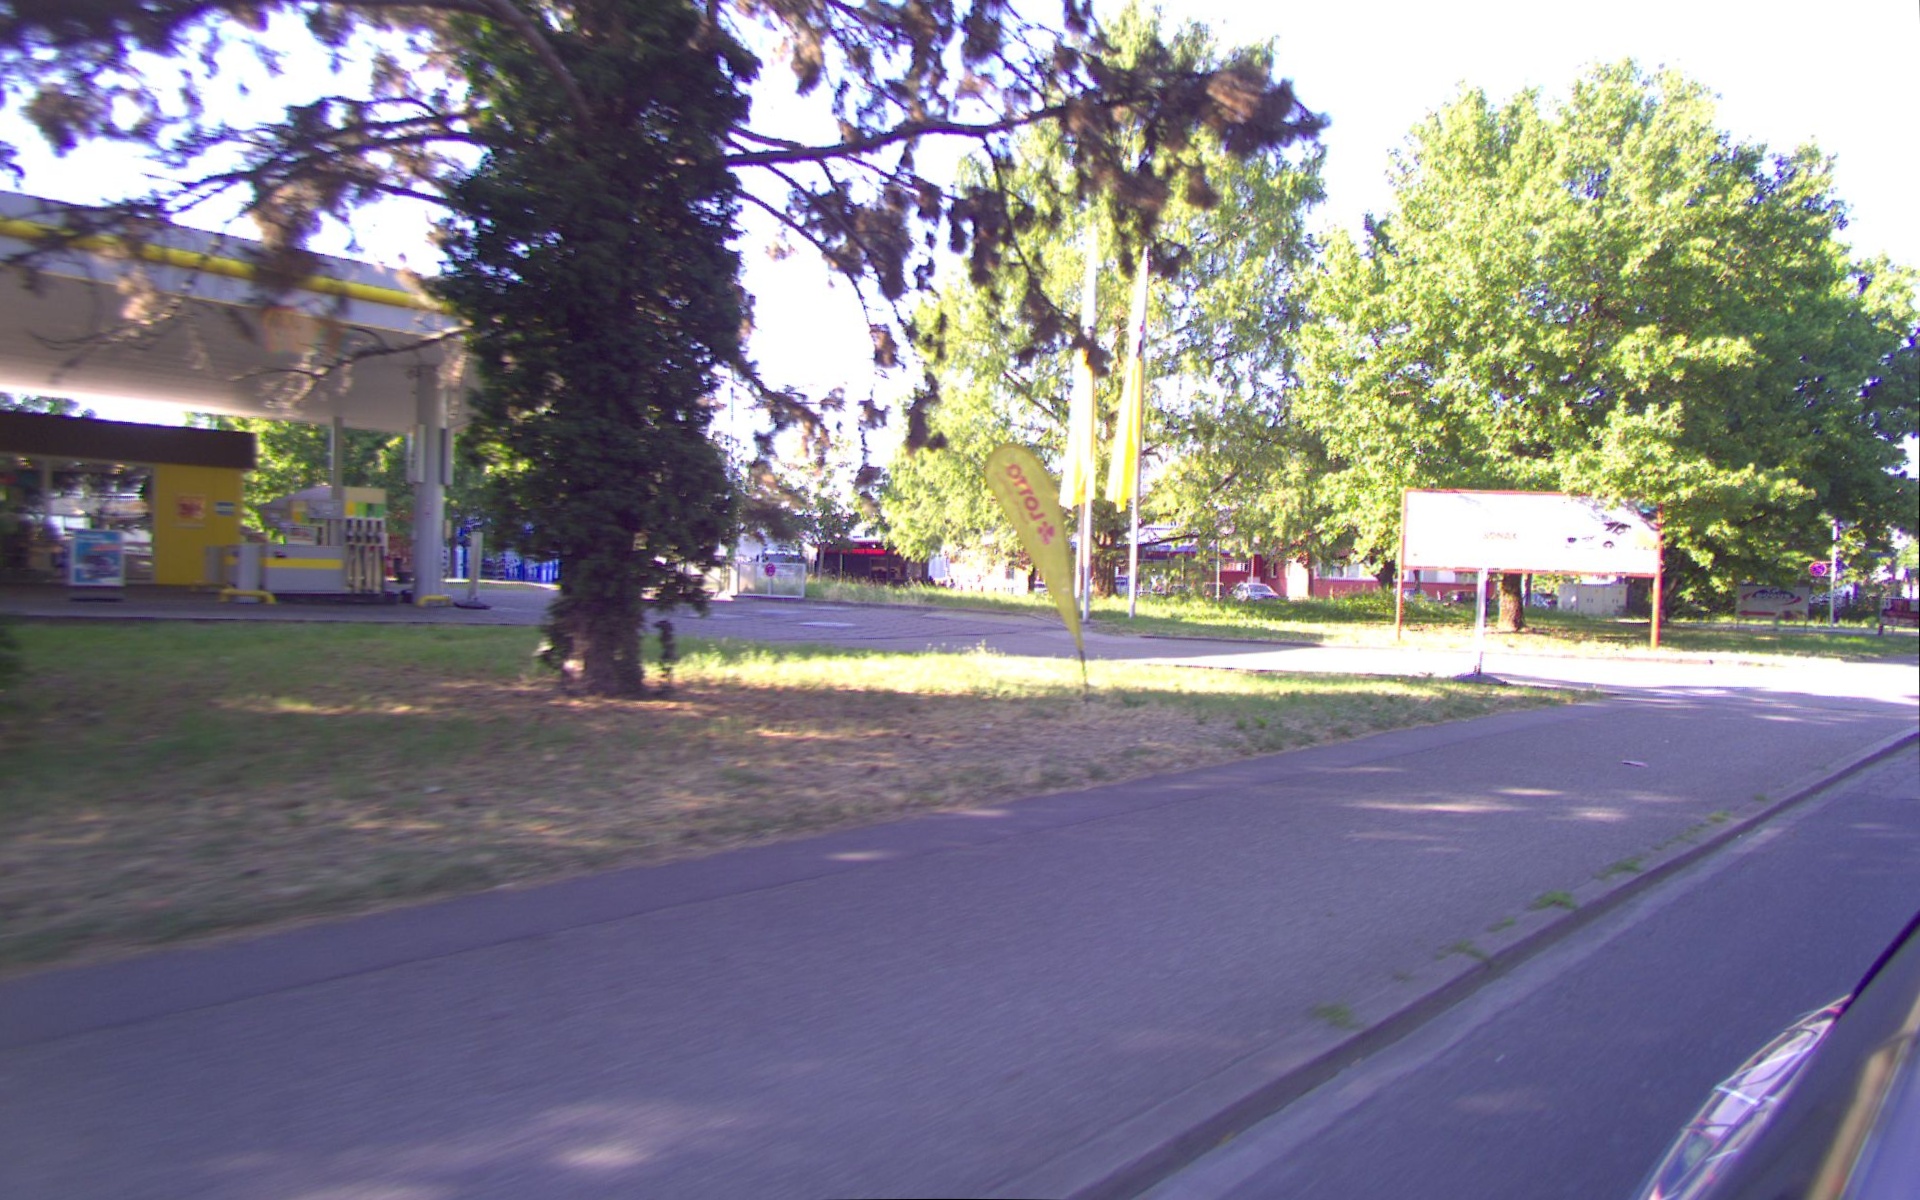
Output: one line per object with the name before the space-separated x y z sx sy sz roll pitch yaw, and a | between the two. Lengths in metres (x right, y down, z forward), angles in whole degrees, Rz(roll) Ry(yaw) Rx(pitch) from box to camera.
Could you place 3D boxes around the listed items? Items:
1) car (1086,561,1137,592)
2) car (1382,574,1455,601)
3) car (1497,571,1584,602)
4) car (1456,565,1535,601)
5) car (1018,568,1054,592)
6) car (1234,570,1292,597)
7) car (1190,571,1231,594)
car | 10.224 -1.547 68.737 1.853 2.000 4.657 1 0 -12
car | 26.363 -0.698 58.389 1.753 1.494 4.673 1 0 -5
car | 32.570 -0.774 56.939 1.960 1.613 4.451 1 1 -6
car | 30.286 -1.001 57.372 1.672 1.840 4.452 1 2 -6
car | 5.110 -1.336 68.398 1.651 1.500 3.949 1 0 -7
car | 17.122 -0.906 57.341 1.753 1.494 4.200 1 0 -4
car | 17.557 -1.230 71.168 1.651 1.521 3.557 1 0 -6
